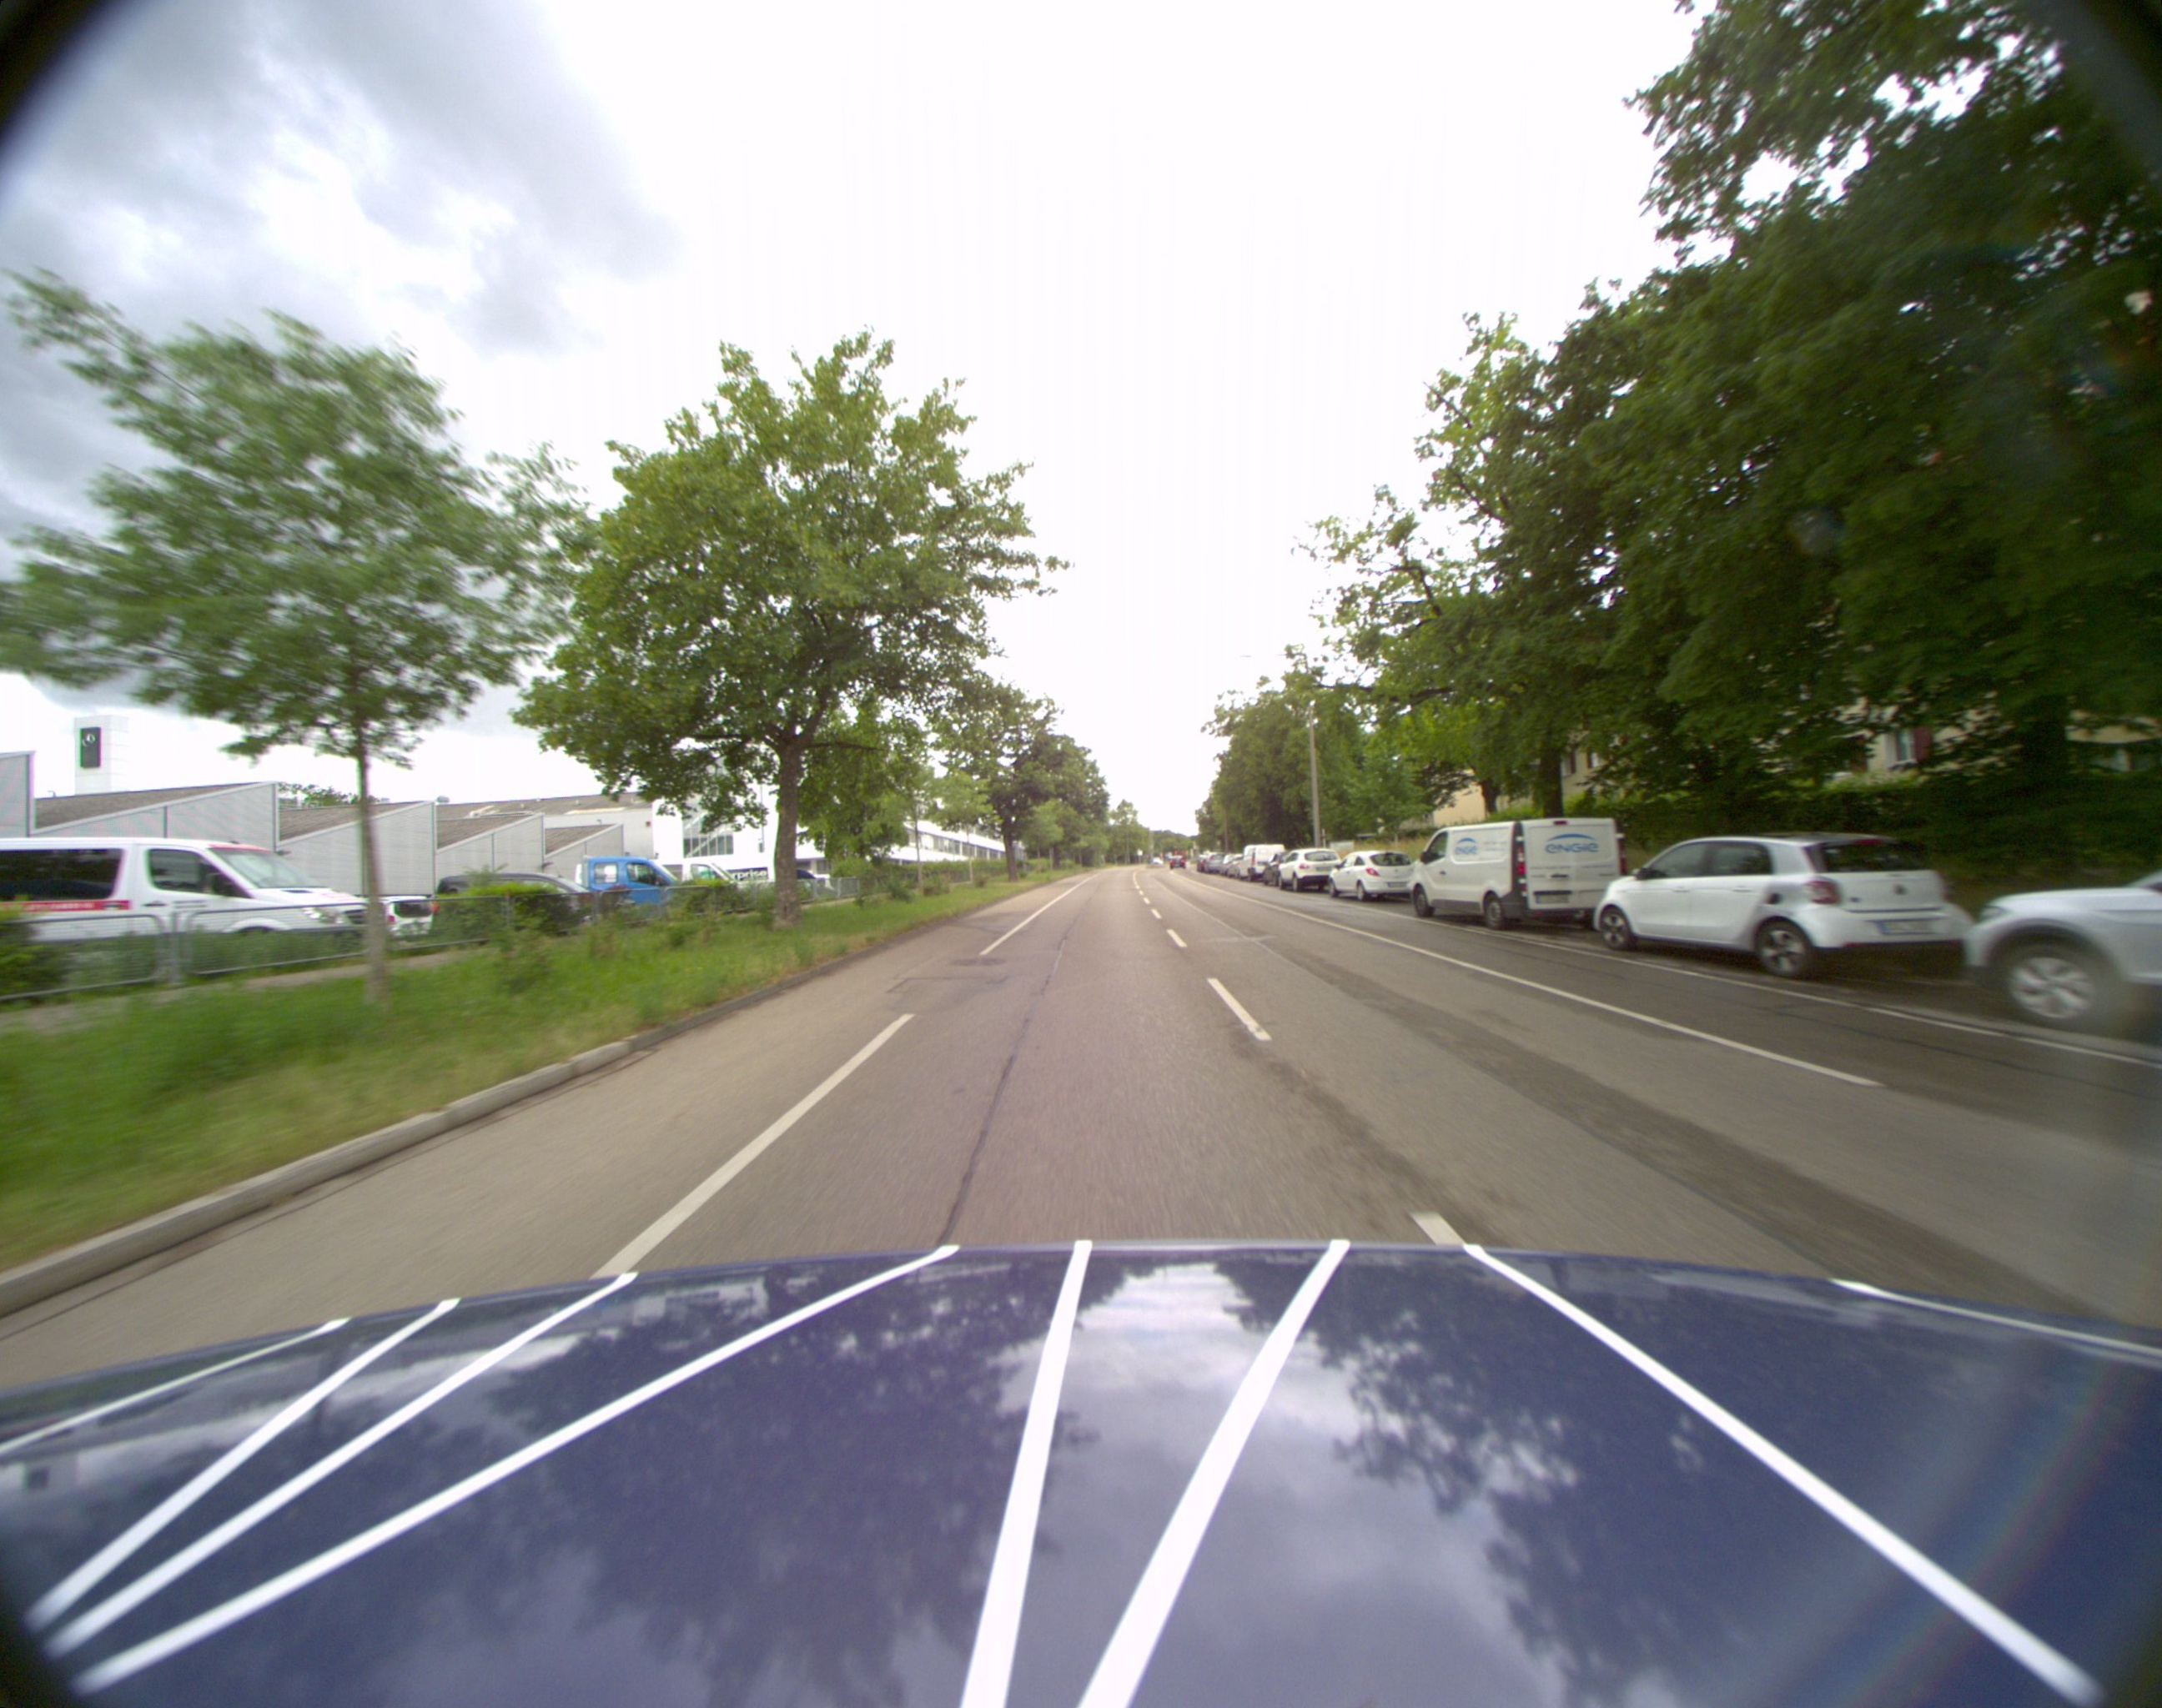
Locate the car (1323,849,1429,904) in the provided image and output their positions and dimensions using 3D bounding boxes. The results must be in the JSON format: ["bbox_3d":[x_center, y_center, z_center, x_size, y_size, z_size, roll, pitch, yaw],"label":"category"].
[{"bbox_3d":[8.857,0.625,23.183,1.666,1.470,4.090,-2,0,1],"label":"car"}]

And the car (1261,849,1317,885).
[{"bbox_3d":[9.304,0.550,34.259,1.677,1.479,4.046,-1,0,5],"label":"car"}]

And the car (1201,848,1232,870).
[{"bbox_3d":[10.320,0.370,57.987,1.772,1.582,4.136,-2,-1,3],"label":"car"}]

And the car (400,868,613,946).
[{"bbox_3d":[-14.724,1.308,19.791,4.004,1.620,1.996,-3,0,-24],"label":"car"}]

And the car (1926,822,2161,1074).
[{"bbox_3d":[7.841,0.584,4.207,1.770,1.624,4.158,-2,0,2],"label":"car"}]

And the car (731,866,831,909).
[{"bbox_3d":[-16.328,1.781,41.397,4.584,2.022,2.066,-3,0,-36],"label":"car"}]

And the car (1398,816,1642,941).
[{"bbox_3d":[8.144,0.403,14.803,1.870,1.952,5.127,-2,0,2],"label":"car"}]

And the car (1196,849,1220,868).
[{"bbox_3d":[11.319,0.350,68.171,1.879,1.561,4.653,-3,0,7],"label":"car"}]

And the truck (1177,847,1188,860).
[{"bbox_3d":[29.334,-0.160,218.969,2.830,3.460,7.829,-2,-1,10],"label":"truck"}]

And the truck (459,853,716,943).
[{"bbox_3d":[-14.819,1.249,23.405,6.260,2.199,2.243,-3,0,-24],"label":"truck"}]

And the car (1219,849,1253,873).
[{"bbox_3d":[10.502,0.468,51.720,1.771,1.486,4.359,-1,-1,5],"label":"car"}]

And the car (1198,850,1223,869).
[{"bbox_3d":[10.747,0.451,63.426,1.771,1.439,4.152,-2,-1,7],"label":"car"}]

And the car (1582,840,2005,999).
[{"bbox_3d":[8.067,0.638,9.154,1.585,1.473,3.720,-2,0,0],"label":"car"}]

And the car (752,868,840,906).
[{"bbox_3d":[-17.531,1.999,46.809,4.584,2.022,2.066,-3,0,-36],"label":"car"}]

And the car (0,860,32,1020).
[{"bbox_3d":[-15.499,1.184,8.440,4.004,2.063,1.921,-3,0,-26],"label":"car"}]

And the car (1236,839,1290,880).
[{"bbox_3d":[9.612,0.301,40.498,1.772,1.919,5.156,-3,-1,3],"label":"car"}]

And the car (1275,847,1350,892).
[{"bbox_3d":[8.783,0.546,29.201,1.677,1.555,4.282,-2,0,2],"label":"car"}]

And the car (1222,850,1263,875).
[{"bbox_3d":[9.882,0.527,46.695,1.639,1.424,3.950,-3,-1,0],"label":"car"}]

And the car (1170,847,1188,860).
[{"bbox_3d":[11.383,-0.057,87.809,1.640,1.458,4.004,-1,0,14],"label":"car"}]

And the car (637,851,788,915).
[{"bbox_3d":[-14.848,1.126,30.969,5.266,2.175,2.068,-3,0,-22],"label":"car"}]

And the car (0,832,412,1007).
[{"bbox_3d":[-15.185,1.003,12.258,6.035,2.353,2.358,-3,0,-20],"label":"car"}]

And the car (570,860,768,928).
[{"bbox_3d":[-14.429,1.351,27.057,5.831,1.945,2.069,-3,0,-19],"label":"car"}]
